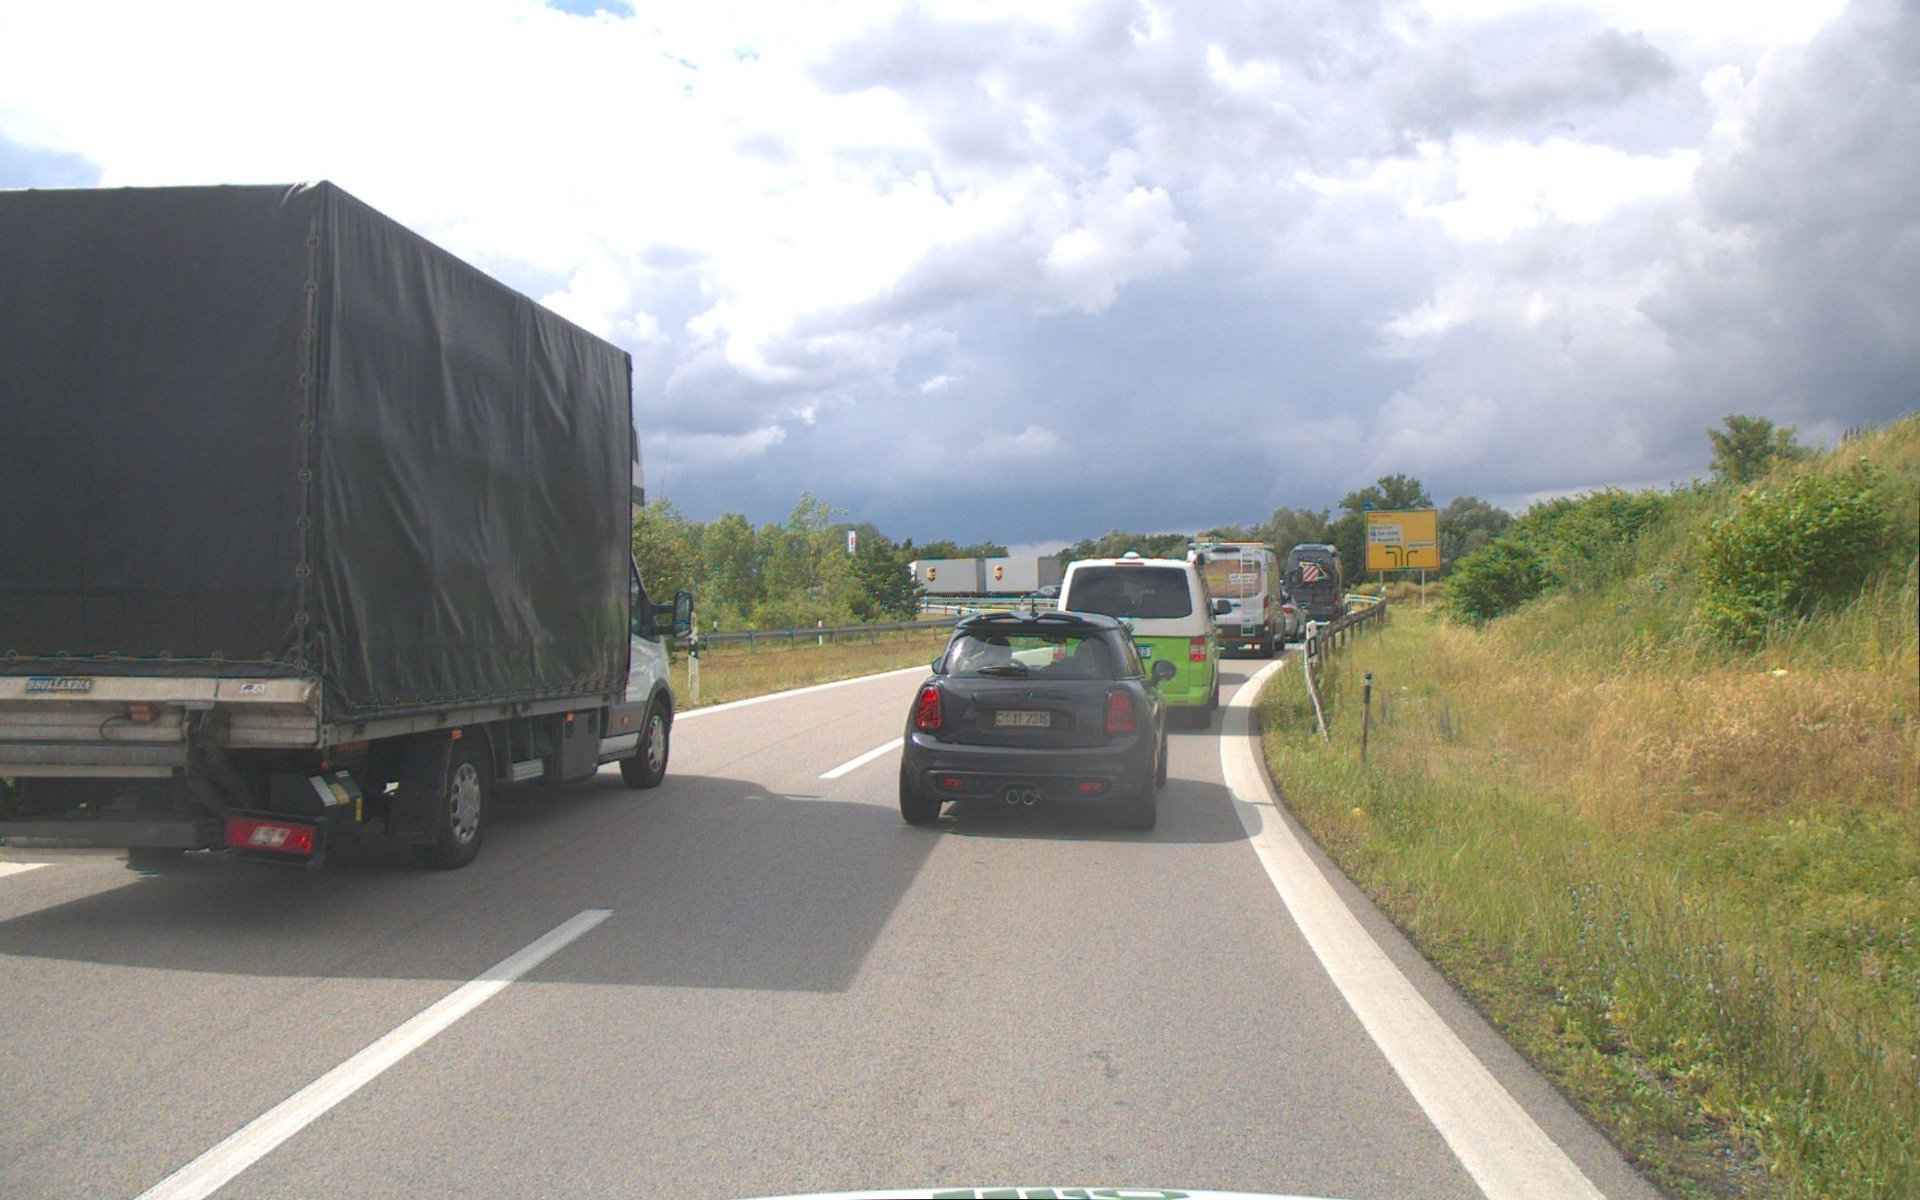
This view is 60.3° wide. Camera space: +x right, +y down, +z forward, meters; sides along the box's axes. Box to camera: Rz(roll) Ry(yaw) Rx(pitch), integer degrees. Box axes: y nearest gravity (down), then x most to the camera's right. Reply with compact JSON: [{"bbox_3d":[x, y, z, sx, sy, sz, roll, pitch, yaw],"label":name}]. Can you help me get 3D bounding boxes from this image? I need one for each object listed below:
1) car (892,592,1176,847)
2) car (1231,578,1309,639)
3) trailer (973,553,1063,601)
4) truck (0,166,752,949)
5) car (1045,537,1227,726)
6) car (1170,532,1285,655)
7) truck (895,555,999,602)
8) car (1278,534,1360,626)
[{"bbox_3d":[0.700,0.738,12.280,1.761,1.573,3.741,0,0,8],"label":"car"},{"bbox_3d":[8.964,0.251,47.621,1.951,1.671,3.931,1,-1,14],"label":"car"},{"bbox_3d":[4.881,-1.921,141.094,3.011,3.966,8.663,1,-1,-35],"label":"trailer"},{"bbox_3d":[-3.488,-0.163,10.651,2.506,3.223,7.473,1,-1,6],"label":"truck"},{"bbox_3d":[2.279,0.351,20.440,1.870,2.081,4.184,0,0,11],"label":"car"},{"bbox_3d":[6.407,-0.119,39.093,2.165,2.668,5.538,1,-1,14],"label":"car"},{"bbox_3d":[-1.253,-1.921,147.770,9.847,4.046,2.829,1,-1,41],"label":"truck"},{"bbox_3d":[13.094,-0.655,59.981,2.262,3.122,6.665,1,-1,17],"label":"car"}]
